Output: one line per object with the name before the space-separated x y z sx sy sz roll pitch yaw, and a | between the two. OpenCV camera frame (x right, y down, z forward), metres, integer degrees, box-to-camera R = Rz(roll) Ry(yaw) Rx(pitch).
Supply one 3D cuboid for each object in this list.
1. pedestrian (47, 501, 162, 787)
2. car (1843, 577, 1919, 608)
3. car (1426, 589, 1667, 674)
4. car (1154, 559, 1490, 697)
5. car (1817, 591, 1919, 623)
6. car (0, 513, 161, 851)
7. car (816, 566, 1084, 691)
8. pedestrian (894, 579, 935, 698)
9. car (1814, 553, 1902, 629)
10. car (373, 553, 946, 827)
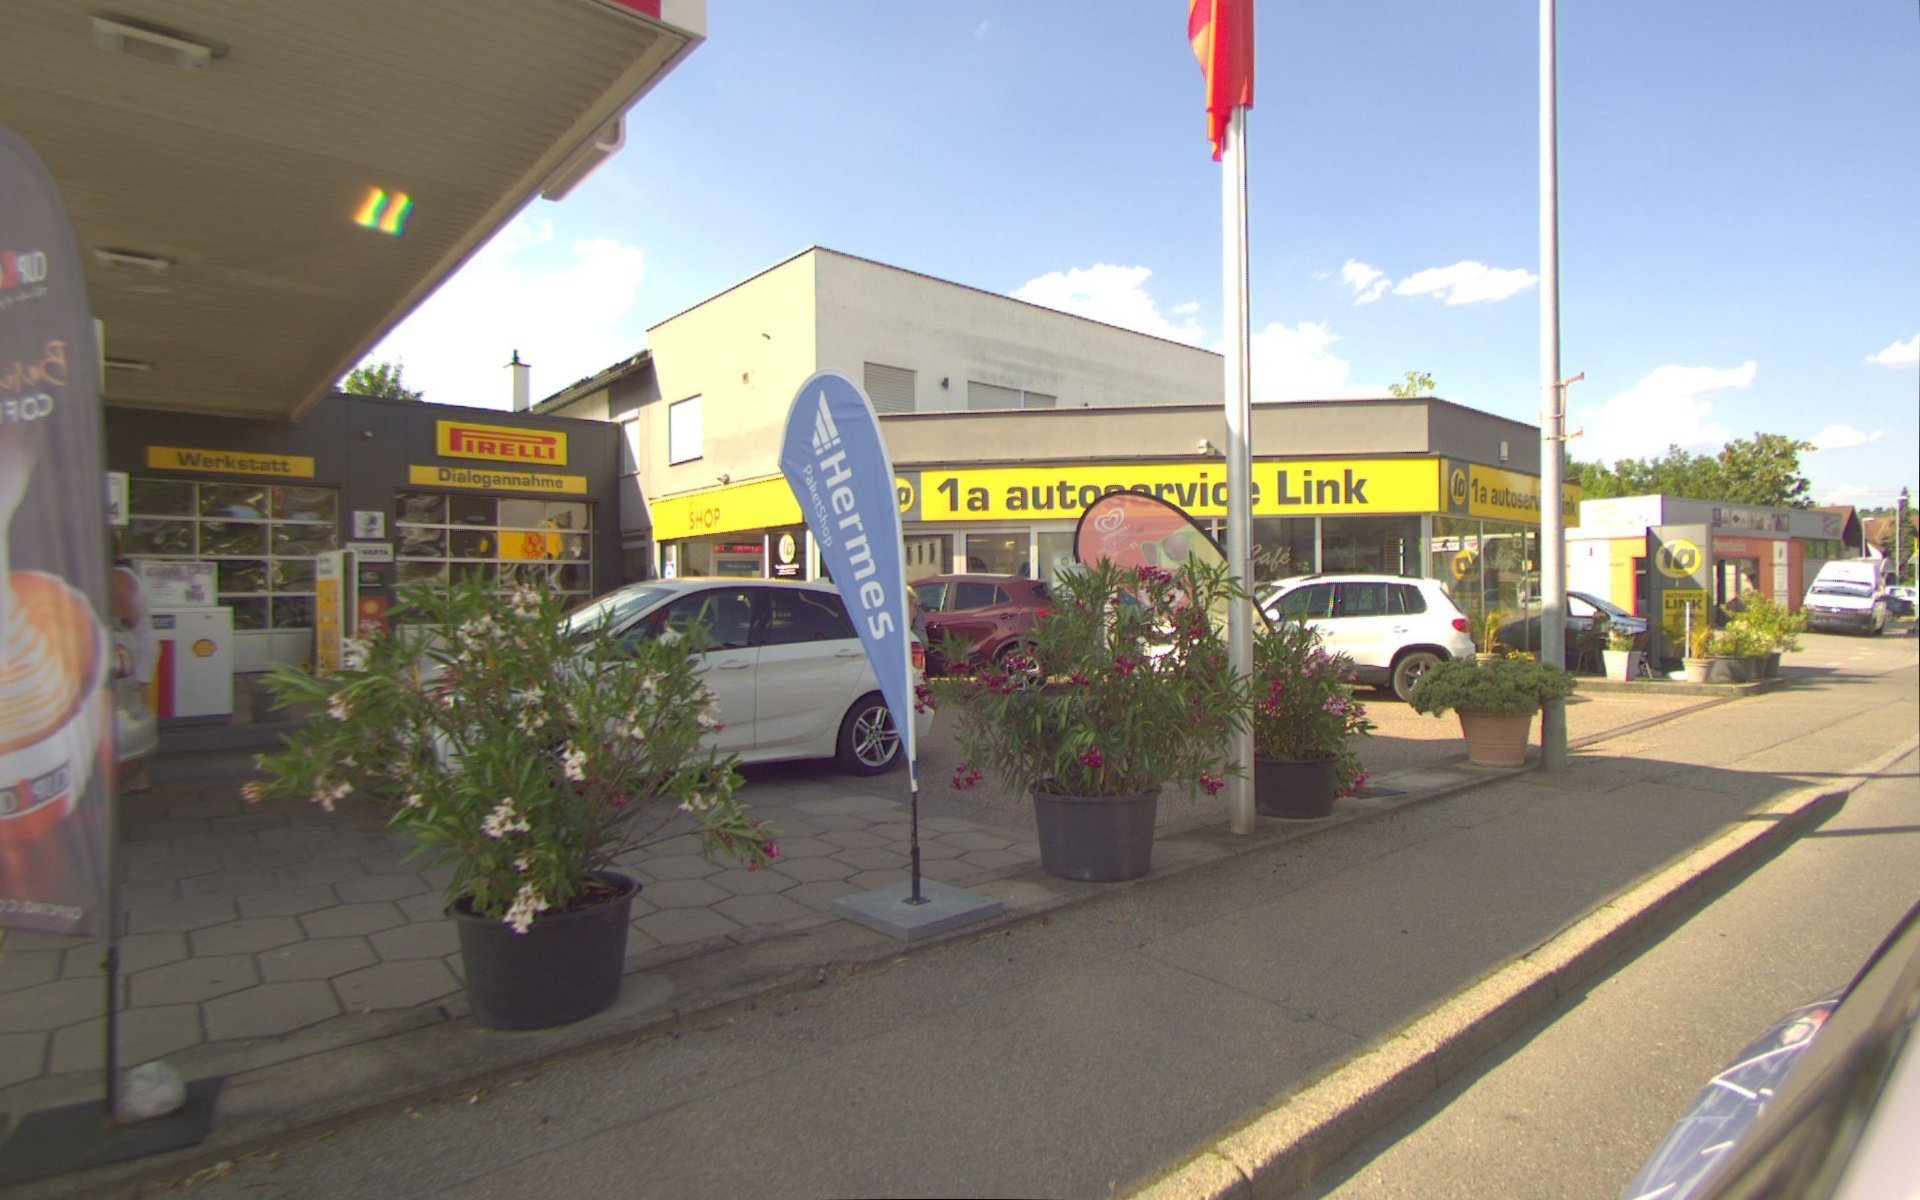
pedestrian | -5.368 0.257 6.364 0.525 1.691 0.501 -1 0 -40
car | 50.696 -0.430 54.943 1.653 1.623 3.948 -2 2 -39
car | 11.799 0.570 20.588 1.500 1.550 3.996 0 0 -39
car | 4.759 0.314 13.824 4.009 1.695 1.674 1 1 8
car | 45.745 0.337 50.647 1.596 1.434 4.076 -1 2 -37
car | -6.111 0.385 4.531 3.928 1.597 1.675 0 0 -41
car | -0.067 0.360 14.462 3.625 1.653 1.674 0 1 8
pedestrian | -0.584 0.480 13.063 0.423 1.498 0.624 0 0 7
car | 30.439 -0.327 34.266 5.093 2.405 1.838 -1 1 -44
car | -2.142 0.513 7.831 3.928 1.597 1.675 0 0 -41
